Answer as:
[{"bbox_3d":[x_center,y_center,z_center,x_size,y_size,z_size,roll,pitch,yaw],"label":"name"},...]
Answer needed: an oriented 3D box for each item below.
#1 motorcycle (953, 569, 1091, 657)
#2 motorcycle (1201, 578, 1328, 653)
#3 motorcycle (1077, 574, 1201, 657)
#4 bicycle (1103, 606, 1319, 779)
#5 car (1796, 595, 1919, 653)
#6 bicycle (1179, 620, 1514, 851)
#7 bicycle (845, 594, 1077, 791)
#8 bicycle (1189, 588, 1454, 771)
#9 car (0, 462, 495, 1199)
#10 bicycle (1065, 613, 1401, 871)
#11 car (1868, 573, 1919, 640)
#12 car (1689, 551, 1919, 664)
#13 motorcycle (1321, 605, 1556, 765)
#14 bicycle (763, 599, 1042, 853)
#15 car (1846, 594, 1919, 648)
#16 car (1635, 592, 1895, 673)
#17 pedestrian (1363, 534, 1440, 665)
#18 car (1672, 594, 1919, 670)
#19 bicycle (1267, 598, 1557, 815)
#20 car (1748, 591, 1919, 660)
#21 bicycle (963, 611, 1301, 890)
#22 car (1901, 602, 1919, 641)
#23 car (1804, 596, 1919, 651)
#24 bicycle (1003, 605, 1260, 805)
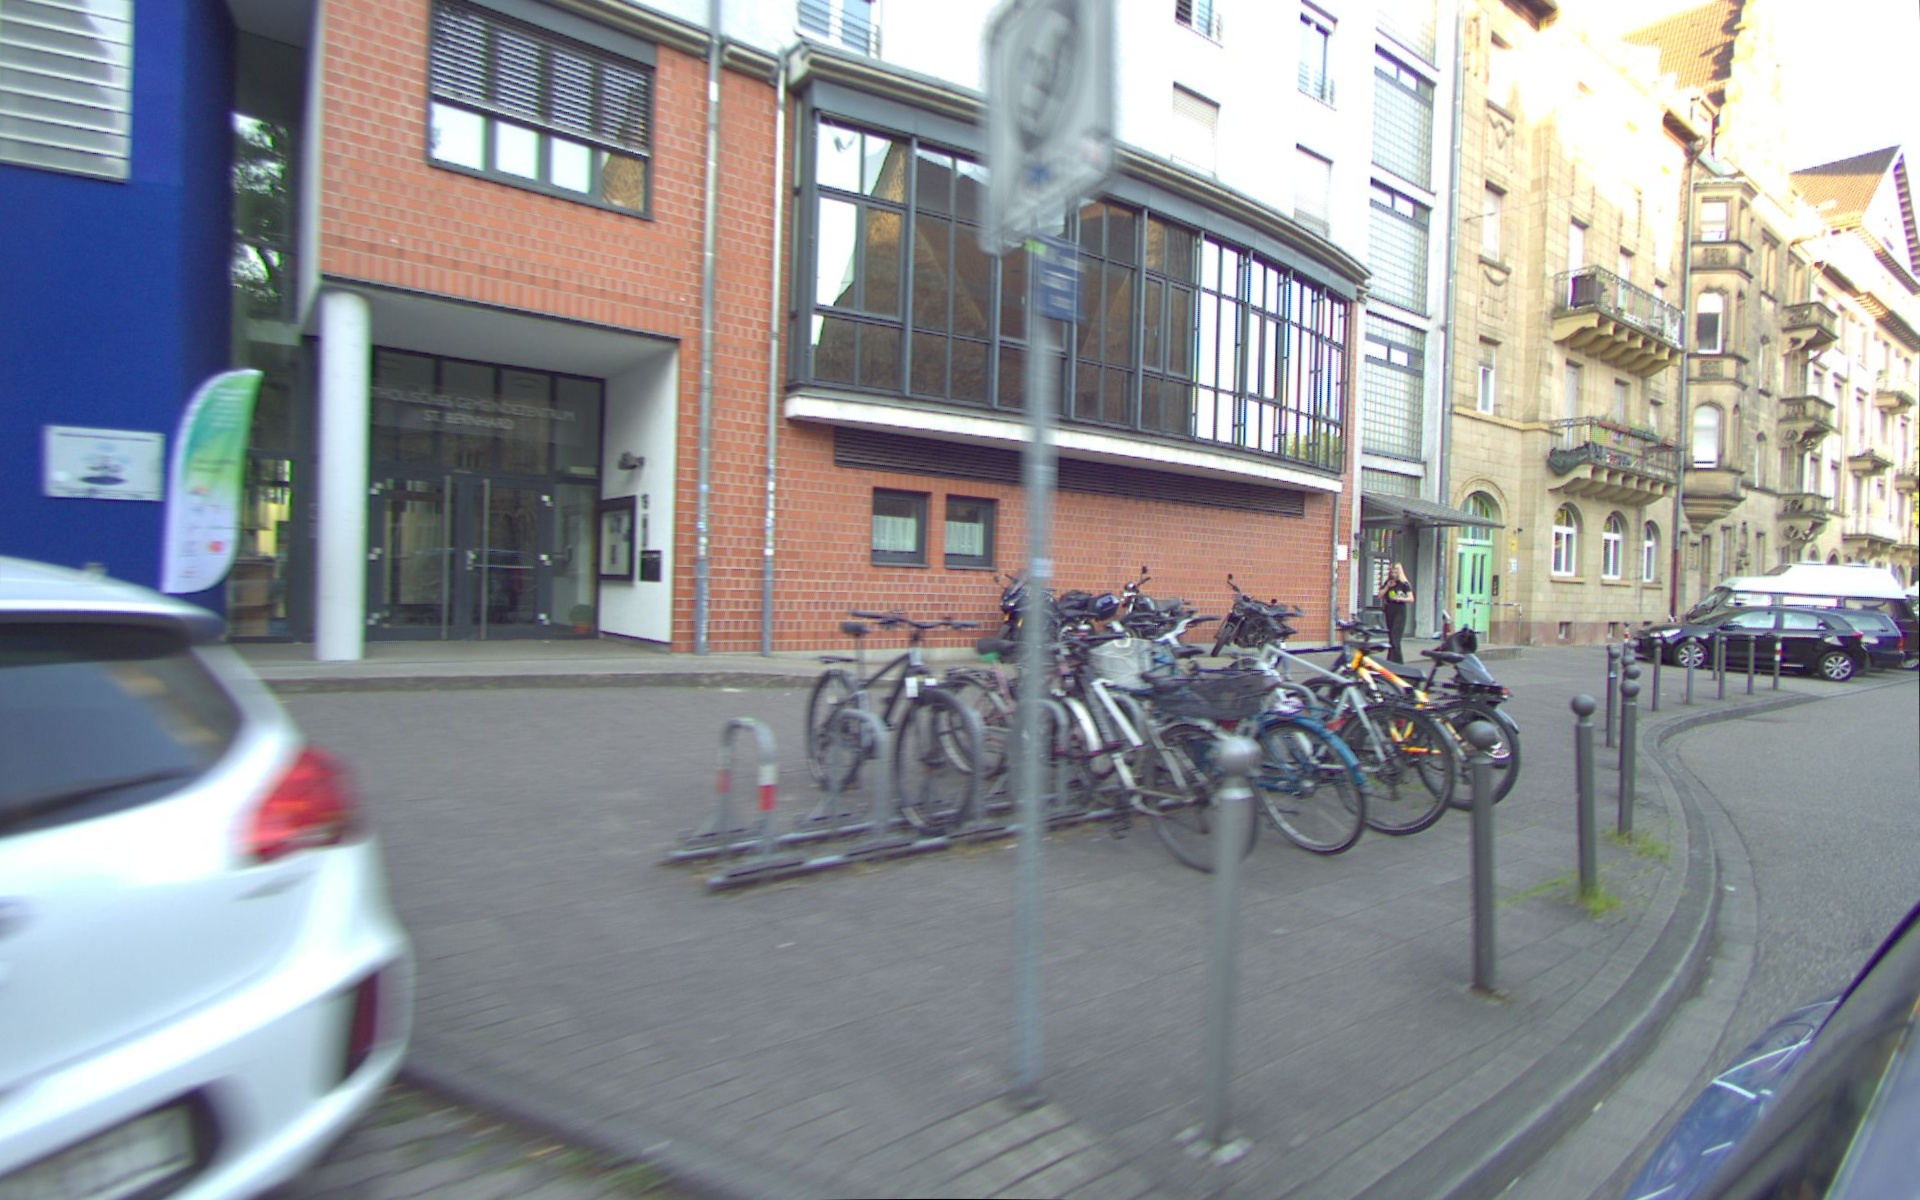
[{"bbox_3d":[0.893,0.166,14.128,2.047,1.116,0.589,0,4,-41],"label":"motorcycle"},{"bbox_3d":[5.227,0.254,17.298,2.395,1.153,0.802,1,3,-38],"label":"motorcycle"},{"bbox_3d":[2.794,0.213,15.538,0.774,1.153,2.382,4,3,39],"label":"motorcycle"},{"bbox_3d":[1.804,0.623,7.481,0.463,1.051,1.544,1,3,-38],"label":"bicycle"},{"bbox_3d":[27.795,0.751,30.097,3.984,1.449,1.857,4,3,19],"label":"car"},{"bbox_3d":[2.225,0.717,6.088,0.463,1.051,1.863,1,3,-38],"label":"bicycle"},{"bbox_3d":[-0.059,0.555,6.968,0.514,1.079,1.863,1,3,-38],"label":"bicycle"},{"bbox_3d":[2.801,0.554,8.042,0.647,1.160,1.865,1,4,-37],"label":"bicycle"},{"bbox_3d":[-3.169,0.507,2.197,3.956,1.525,1.756,2,1,24],"label":"car"},{"bbox_3d":[1.413,0.680,5.612,0.437,1.079,1.863,1,3,-38],"label":"bicycle"},{"bbox_3d":[40.945,0.360,40.934,5.795,2.582,2.189,3,3,12],"label":"car"},{"bbox_3d":[21.112,0.125,24.978,4.674,2.578,1.903,2,1,24],"label":"car"},{"bbox_3d":[4.035,0.665,8.622,1.646,1.115,0.637,5,3,44],"label":"motorcycle"},{"bbox_3d":[-0.407,0.597,5.667,0.514,1.079,1.917,1,3,-38],"label":"bicycle"},{"bbox_3d":[32.160,0.778,33.277,4.041,1.627,1.808,4,3,15],"label":"car"},{"bbox_3d":[17.236,0.644,21.916,4.023,1.510,1.711,2,1,22],"label":"car"},{"bbox_3d":[7.177,-0.019,16.457,0.841,2.036,0.609,1,6,-37],"label":"pedestrian"},{"bbox_3d":[19.247,0.674,23.323,4.311,1.521,1.897,2,1,25],"label":"car"},{"bbox_3d":[2.969,0.634,6.816,0.463,1.190,1.712,1,3,-38],"label":"bicycle"},{"bbox_3d":[23.609,0.667,26.422,4.350,1.504,1.830,4,3,23],"label":"car"},{"bbox_3d":[0.789,0.659,5.227,0.437,1.079,1.863,1,3,-38],"label":"bicycle"},{"bbox_3d":[39.252,0.956,38.724,4.193,1.471,1.992,3,2,15],"label":"car"},{"bbox_3d":[29.485,0.776,31.871,4.004,1.516,1.745,4,3,18],"label":"car"},{"bbox_3d":[1.065,0.617,6.752,0.395,1.051,1.863,1,3,-38],"label":"bicycle"}]
